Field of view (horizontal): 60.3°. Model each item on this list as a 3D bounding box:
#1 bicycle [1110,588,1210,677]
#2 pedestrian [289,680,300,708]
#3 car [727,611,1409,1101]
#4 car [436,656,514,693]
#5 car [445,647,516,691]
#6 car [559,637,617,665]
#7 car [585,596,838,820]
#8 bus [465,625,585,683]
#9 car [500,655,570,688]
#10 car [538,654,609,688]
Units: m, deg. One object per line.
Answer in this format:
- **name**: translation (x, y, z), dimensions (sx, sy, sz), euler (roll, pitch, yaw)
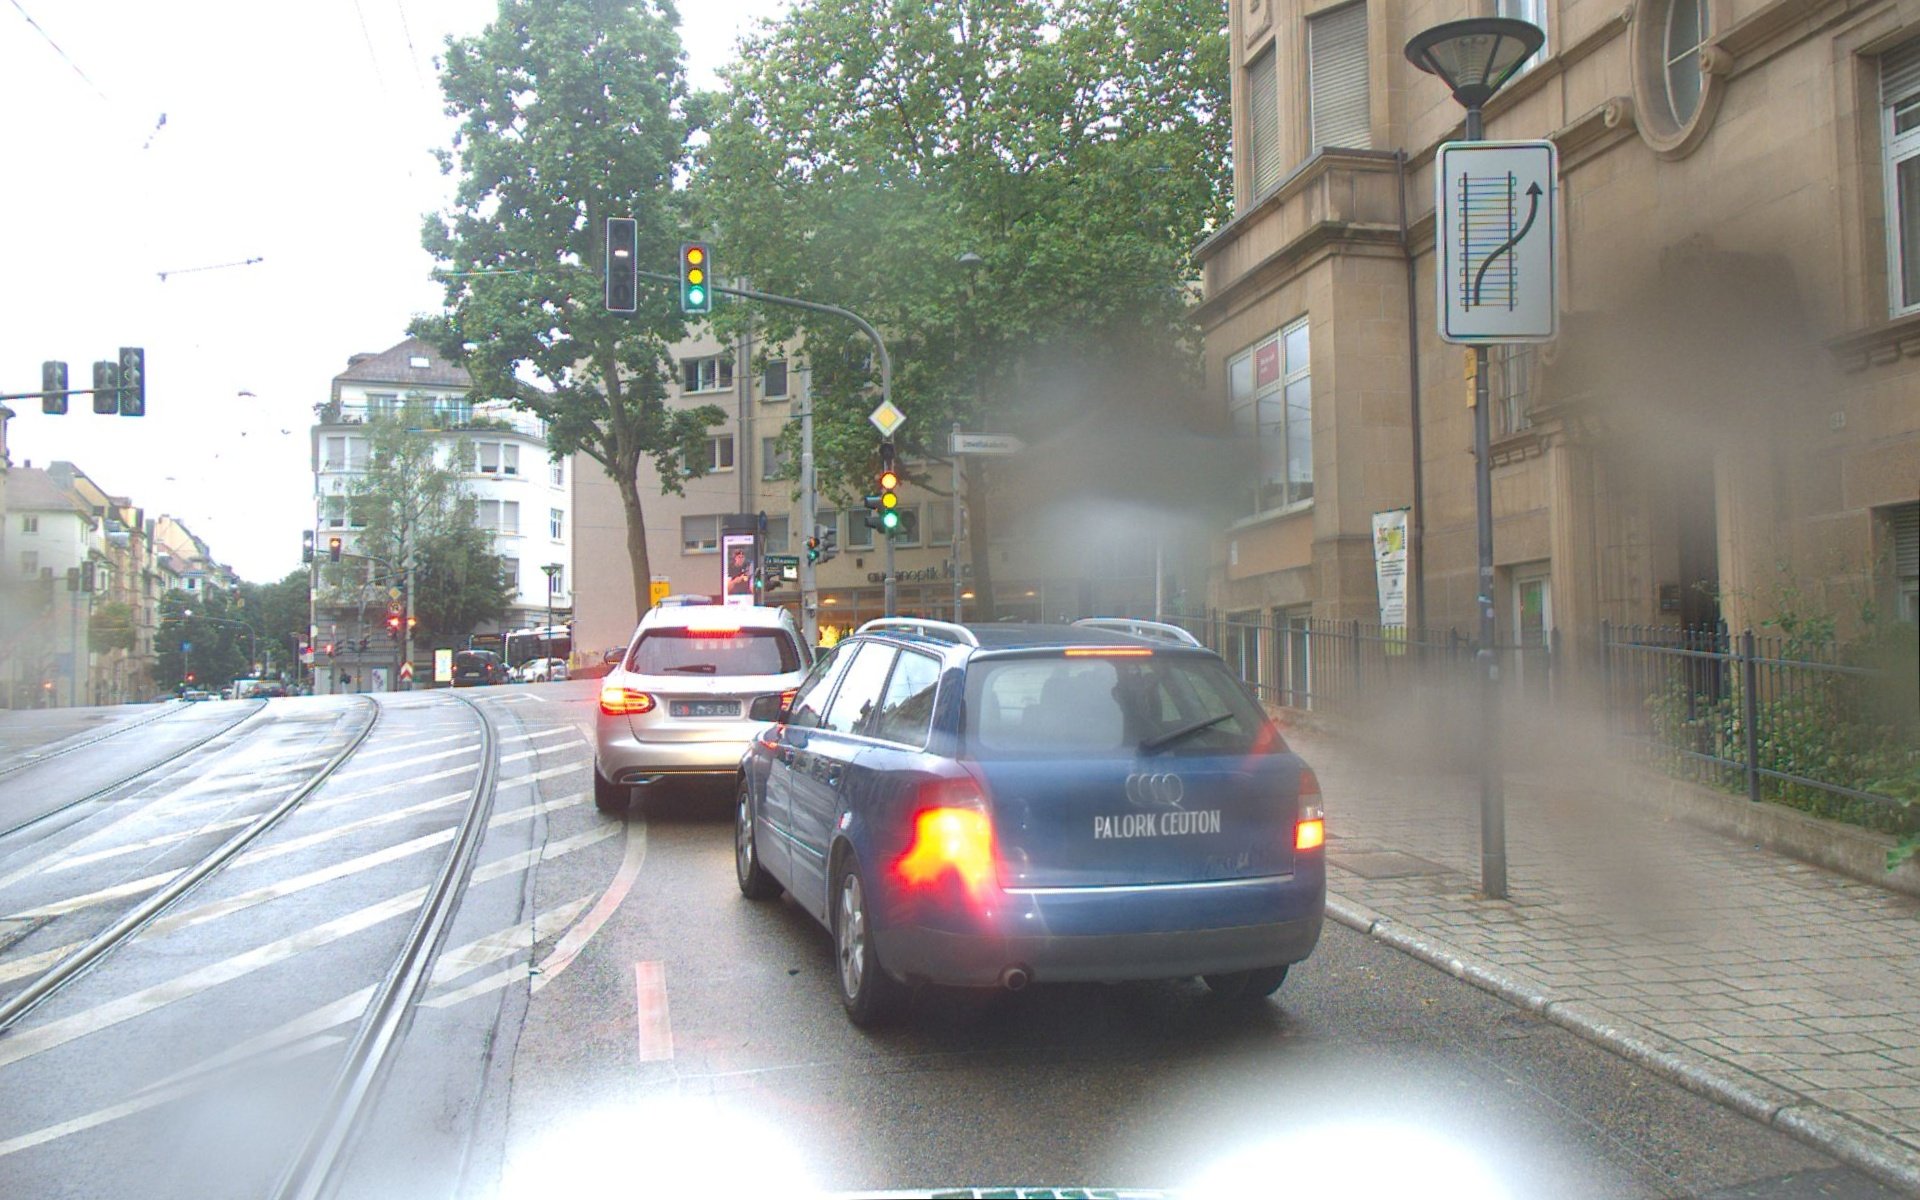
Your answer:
- **bicycle**: translation (2.861, 0.459, 23.704), dimensions (1.278, 1.194, 0.524), euler (-3, 0, -13)
- **pedestrian**: translation (-41.372, 5.865, 102.791), dimensions (0.639, 1.690, 0.646), euler (0, -1, -21)
- **car**: translation (0.129, 0.792, 7.204), dimensions (1.683, 1.440, 4.017), euler (0, 0, -17)
- **car**: translation (-24.107, 3.695, 82.350), dimensions (1.756, 1.642, 4.002), euler (-1, 0, 17)
- **car**: translation (-19.499, 2.792, 67.425), dimensions (1.758, 1.536, 3.999), euler (-3, 0, -2)
- **car**: translation (-22.794, 3.123, 101.470), dimensions (1.756, 1.536, 4.002), euler (-1, 0, 17)
- **car**: translation (-1.901, 0.720, 12.884), dimensions (1.678, 1.481, 3.546), euler (0, 0, -8)
- **bus**: translation (-24.586, 2.995, 94.031), dimensions (2.793, 2.911, 8.741), euler (-1, 0, 13)
- **car**: translation (-22.505, 3.769, 87.645), dimensions (1.756, 1.536, 4.002), euler (-1, 0, 17)
- **car**: translation (-19.892, 3.637, 85.330), dimensions (1.756, 1.536, 4.670), euler (-1, 0, 12)
